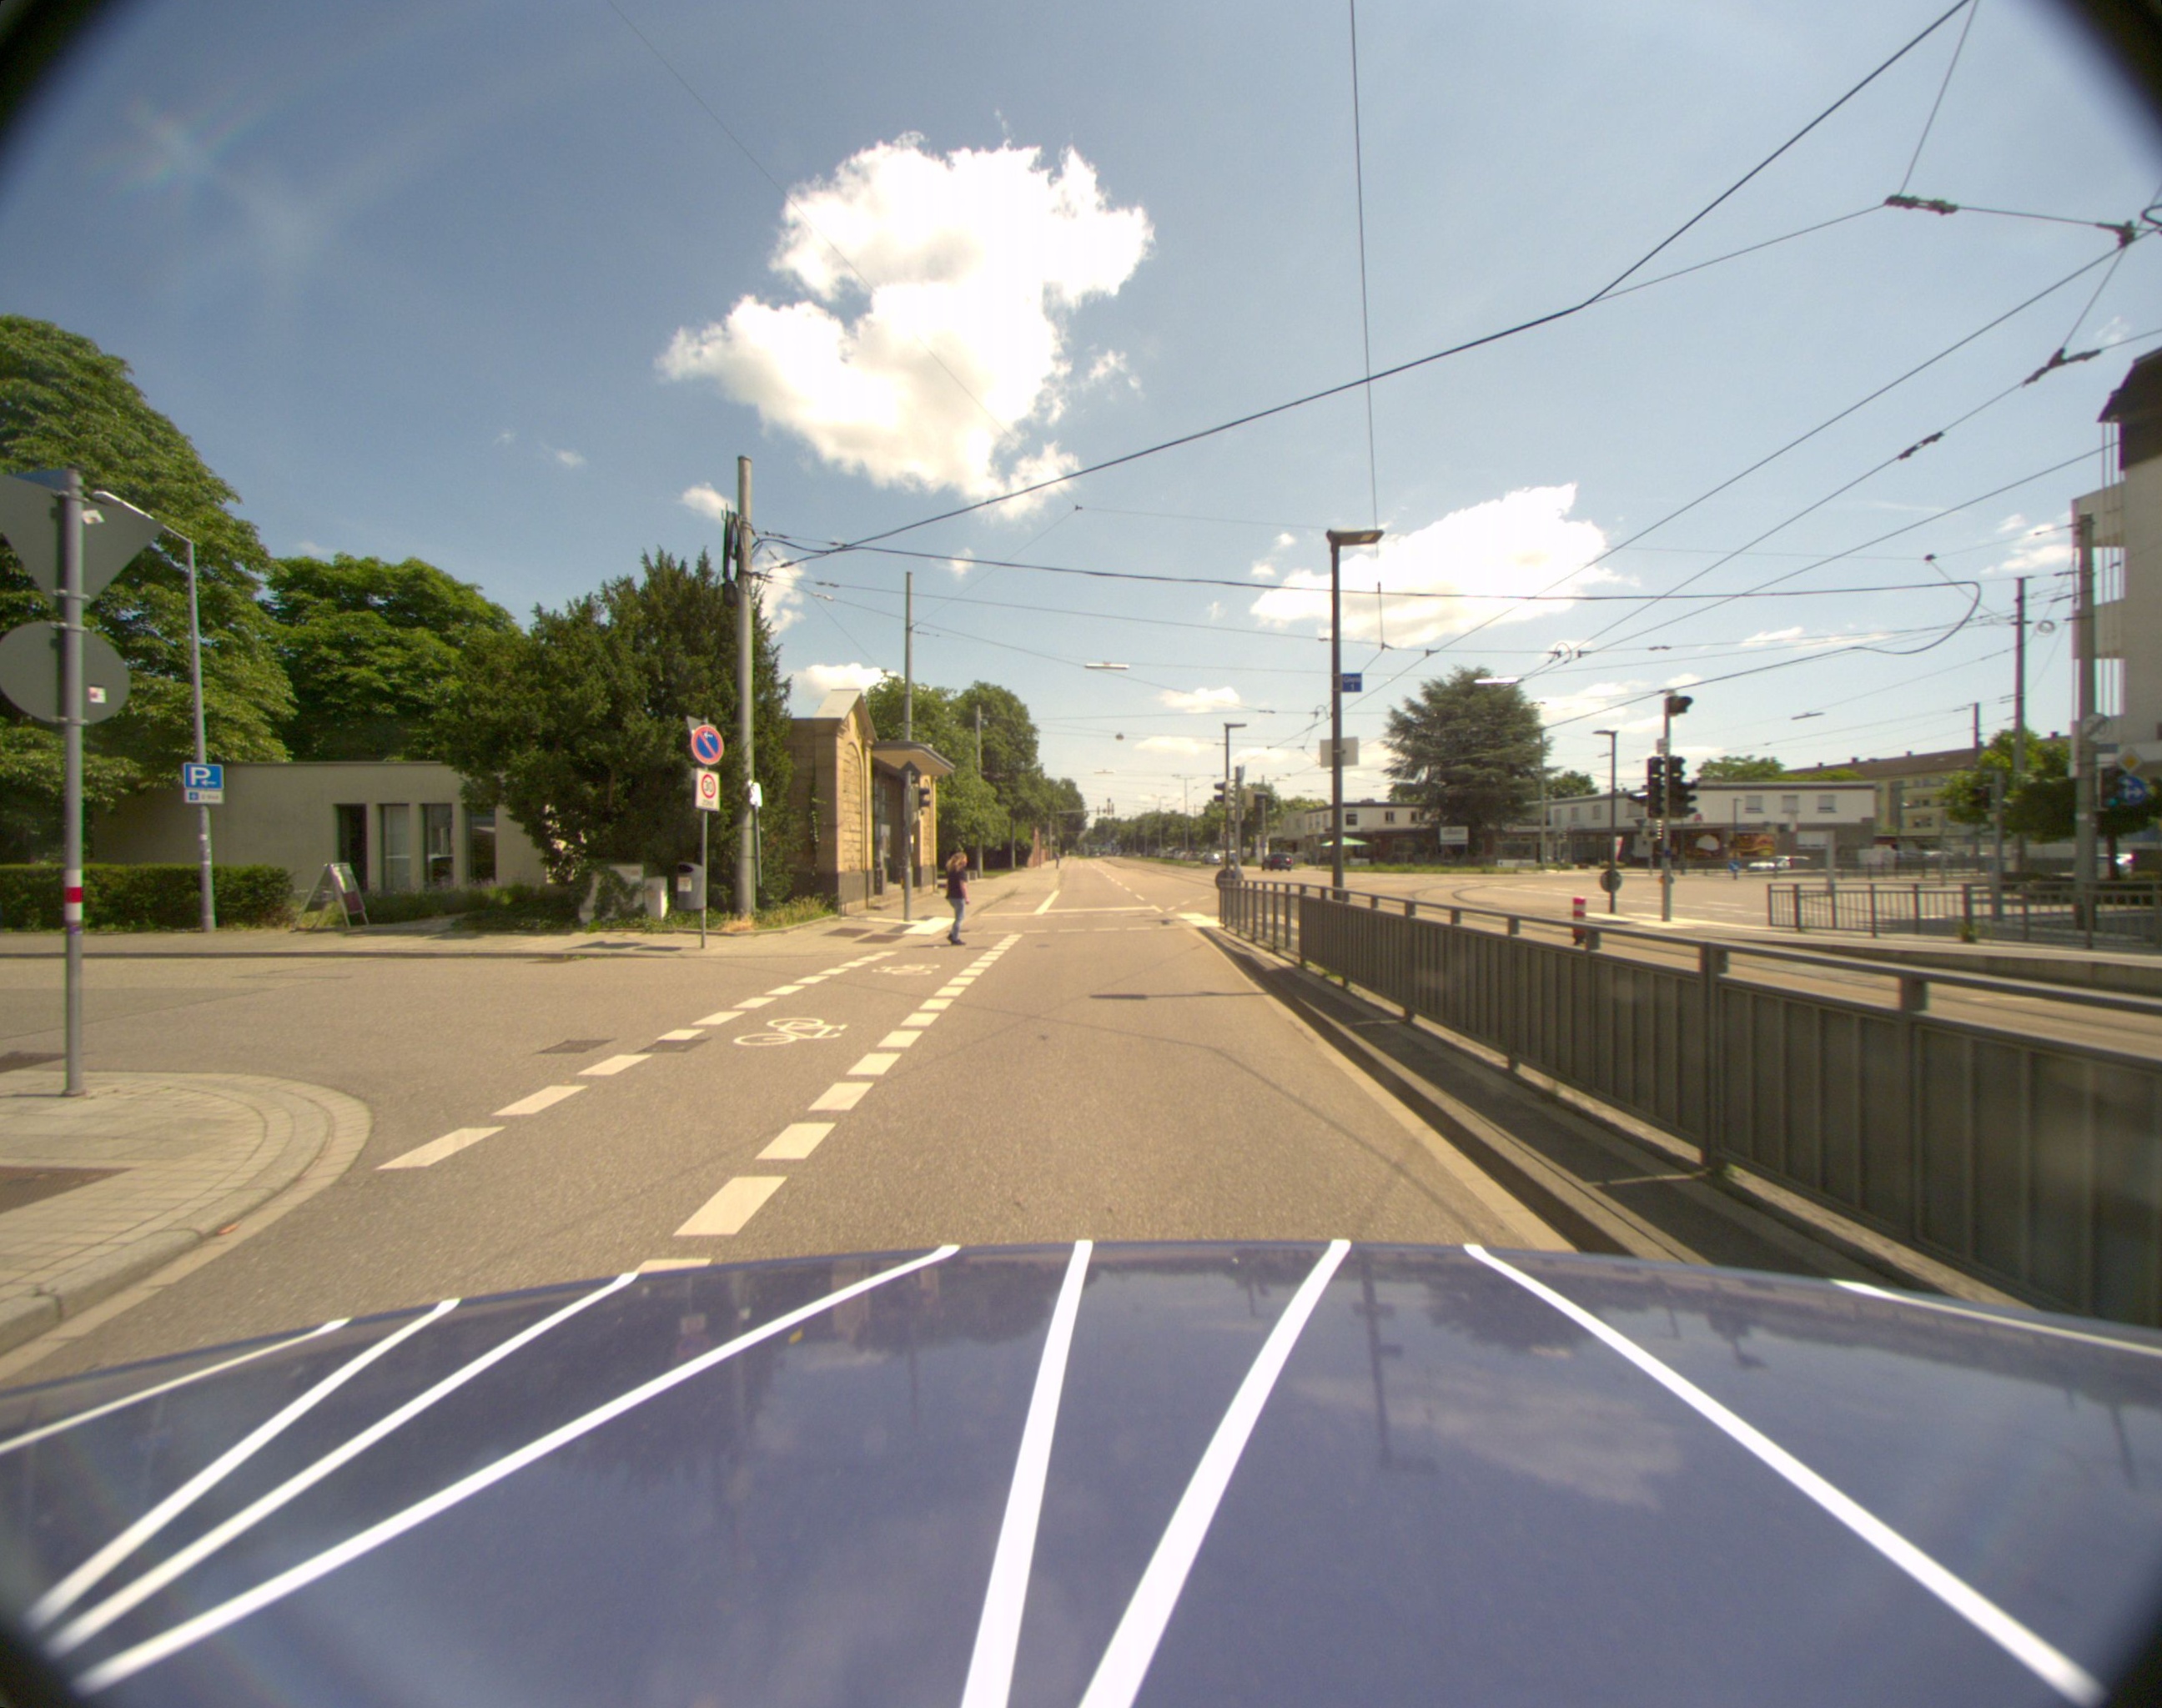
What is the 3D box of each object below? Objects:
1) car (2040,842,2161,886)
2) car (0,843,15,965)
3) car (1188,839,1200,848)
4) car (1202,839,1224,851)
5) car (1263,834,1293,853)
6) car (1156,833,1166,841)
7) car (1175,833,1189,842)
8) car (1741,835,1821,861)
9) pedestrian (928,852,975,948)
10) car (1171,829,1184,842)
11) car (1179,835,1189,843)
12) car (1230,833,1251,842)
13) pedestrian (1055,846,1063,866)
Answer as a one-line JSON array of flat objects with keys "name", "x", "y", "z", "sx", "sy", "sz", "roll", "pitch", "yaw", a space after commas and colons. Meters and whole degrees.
[{"name": "car", "x": 46.979, "y": 0.459, "z": 34.657, "sx": 3.997, "sy": 1.901, "sz": 1.999, "roll": 1, "pitch": 1, "yaw": -1}, {"name": "car", "x": -16.875, "y": 0.692, "z": 9.790, "sx": 3.803, "sy": 1.691, "sz": 1.674, "roll": 1, "pitch": 1, "yaw": -1}, {"name": "car", "x": 20.445, "y": -1.912, "z": 138.104, "sx": 1.580, "sy": 1.531, "sz": 4.550, "roll": -1, "pitch": 1, "yaw": 1}, {"name": "car", "x": 16.571, "y": -1.100, "z": 95.577, "sx": 1.999, "sy": 1.463, "sz": 4.400, "roll": 1, "pitch": 1, "yaw": -1}, {"name": "car", "x": 17.196, "y": -0.905, "z": 66.470, "sx": 1.727, "sy": 1.673, "sz": 4.280, "roll": 0, "pitch": 0, "yaw": 4}, {"name": "car", "x": 20.680, "y": -4.382, "z": 196.399, "sx": 2.072, "sy": 2.089, "sz": 4.487, "roll": -2, "pitch": 1, "yaw": -2}, {"name": "car", "x": 20.523, "y": -3.394, "z": 154.604, "sx": 2.156, "sy": 1.827, "sz": 4.887, "roll": -2, "pitch": 1, "yaw": 0}, {"name": "car", "x": 49.890, "y": -0.447, "z": 54.211, "sx": 3.850, "sy": 1.715, "sz": 1.899, "roll": 2, "pitch": 1, "yaw": 1}, {"name": "pedestrian", "x": -2.174, "y": 0.752, "z": 12.836, "sx": 0.578, "sy": 1.547, "sz": 0.786, "roll": 2, "pitch": 2, "yaw": 3}, {"name": "car", "x": 20.375, "y": -3.966, "z": 160.498, "sx": 2.156, "sy": 2.597, "sz": 5.032, "roll": -2, "pitch": 1, "yaw": 0}, {"name": "car", "x": 20.085, "y": -2.868, "z": 147.887, "sx": 1.503, "sy": 1.531, "sz": 4.358, "roll": -1, "pitch": 1, "yaw": 1}, {"name": "car", "x": 32.142, "y": -3.295, "z": 153.248, "sx": 3.997, "sy": 1.726, "sz": 1.902, "roll": 1, "pitch": 1, "yaw": 1}, {"name": "pedestrian", "x": -2.104, "y": 0.188, "z": 73.168, "sx": 0.767, "sy": 1.841, "sz": 0.717, "roll": 1, "pitch": 1, "yaw": -3}]
